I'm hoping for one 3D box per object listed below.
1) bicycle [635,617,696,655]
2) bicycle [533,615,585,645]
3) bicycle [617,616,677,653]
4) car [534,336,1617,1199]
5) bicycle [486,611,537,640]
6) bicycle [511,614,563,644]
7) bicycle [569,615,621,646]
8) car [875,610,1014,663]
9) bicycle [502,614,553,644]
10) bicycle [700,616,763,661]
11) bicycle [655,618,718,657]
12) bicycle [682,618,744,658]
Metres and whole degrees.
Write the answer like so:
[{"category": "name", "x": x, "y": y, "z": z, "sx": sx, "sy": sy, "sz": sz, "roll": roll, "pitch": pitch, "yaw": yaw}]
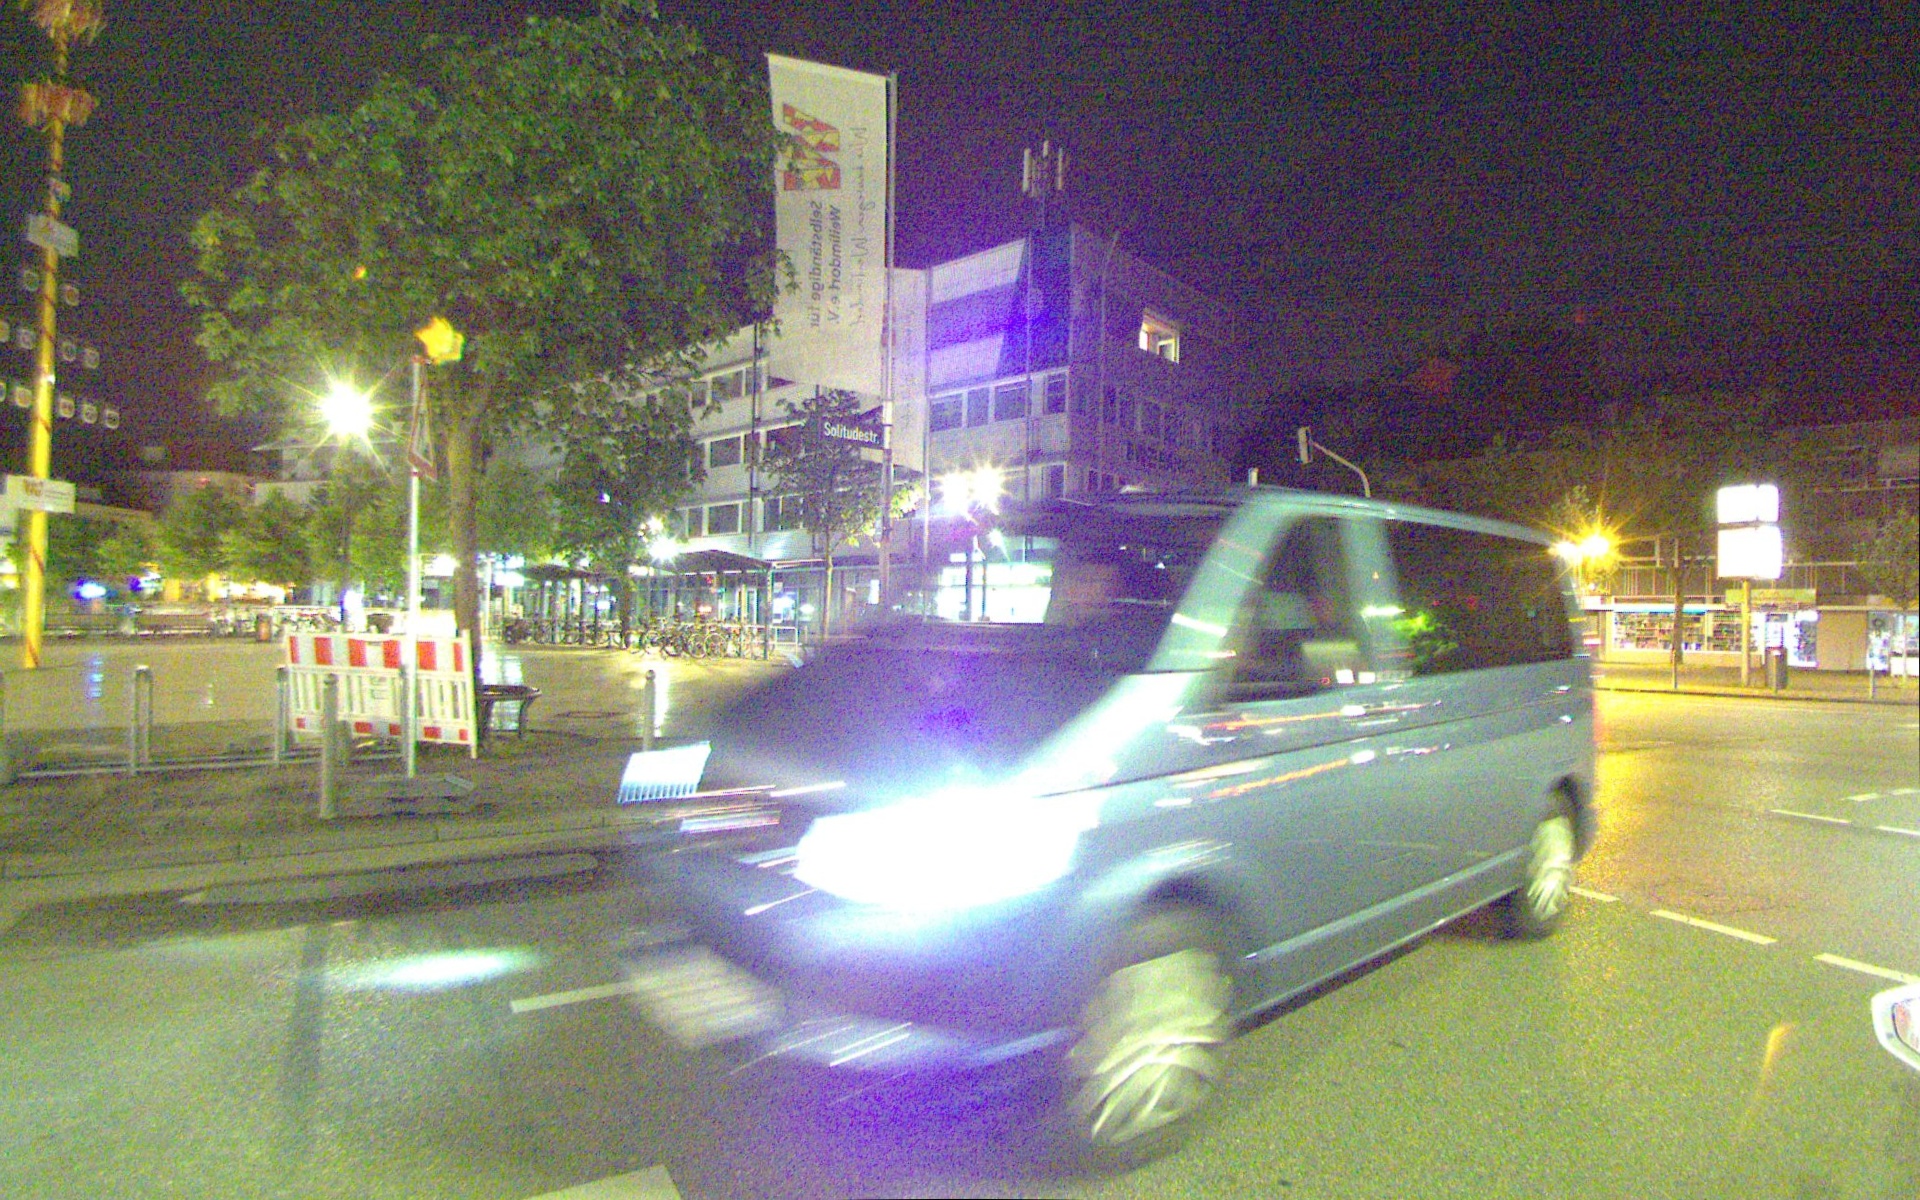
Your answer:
[{"category": "bicycle", "x": -7.854, "y": 0.950, "z": 26.818, "sx": 0.473, "sy": 0.970, "sz": 1.525, "roll": 2, "pitch": 0, "yaw": 43}, {"category": "bicycle", "x": -13.173, "y": 0.988, "z": 33.051, "sx": 0.473, "sy": 0.970, "sz": 1.525, "roll": 2, "pitch": 0, "yaw": 43}, {"category": "bicycle", "x": -8.534, "y": 0.932, "z": 27.418, "sx": 0.473, "sy": 0.970, "sz": 1.525, "roll": 2, "pitch": 0, "yaw": 43}, {"category": "car", "x": 1.017, "y": 0.513, "z": 4.325, "sx": 4.877, "sy": 1.896, "sz": 1.948, "roll": 2, "pitch": -2, "yaw": -43}, {"category": "bicycle", "x": -15.565, "y": 0.880, "z": 34.895, "sx": 0.473, "sy": 0.970, "sz": 1.525, "roll": 2, "pitch": 0, "yaw": 43}, {"category": "bicycle", "x": -14.188, "y": 0.976, "z": 33.733, "sx": 0.473, "sy": 0.970, "sz": 1.525, "roll": 2, "pitch": 0, "yaw": 43}, {"category": "bicycle", "x": -12.005, "y": 1.012, "z": 33.067, "sx": 0.473, "sy": 0.970, "sz": 1.525, "roll": 2, "pitch": 0, "yaw": 43}, {"category": "car", "x": -0.534, "y": 1.118, "z": 32.240, "sx": 4.251, "sy": 1.473, "sz": 1.871, "roll": 2, "pitch": 0, "yaw": 40}, {"category": "bicycle", "x": -14.774, "y": 0.985, "z": 34.339, "sx": 0.473, "sy": 0.970, "sz": 1.525, "roll": 2, "pitch": 0, "yaw": 43}, {"category": "bicycle", "x": -5.654, "y": 0.939, "z": 24.921, "sx": 0.440, "sy": 1.068, "sz": 1.525, "roll": 2, "pitch": 0, "yaw": 43}, {"category": "bicycle", "x": -7.105, "y": 0.964, "z": 26.132, "sx": 0.473, "sy": 0.970, "sz": 1.525, "roll": 2, "pitch": 0, "yaw": 43}, {"category": "bicycle", "x": -6.275, "y": 0.965, "z": 25.596, "sx": 0.440, "sy": 0.970, "sz": 1.525, "roll": 2, "pitch": 0, "yaw": 43}]
